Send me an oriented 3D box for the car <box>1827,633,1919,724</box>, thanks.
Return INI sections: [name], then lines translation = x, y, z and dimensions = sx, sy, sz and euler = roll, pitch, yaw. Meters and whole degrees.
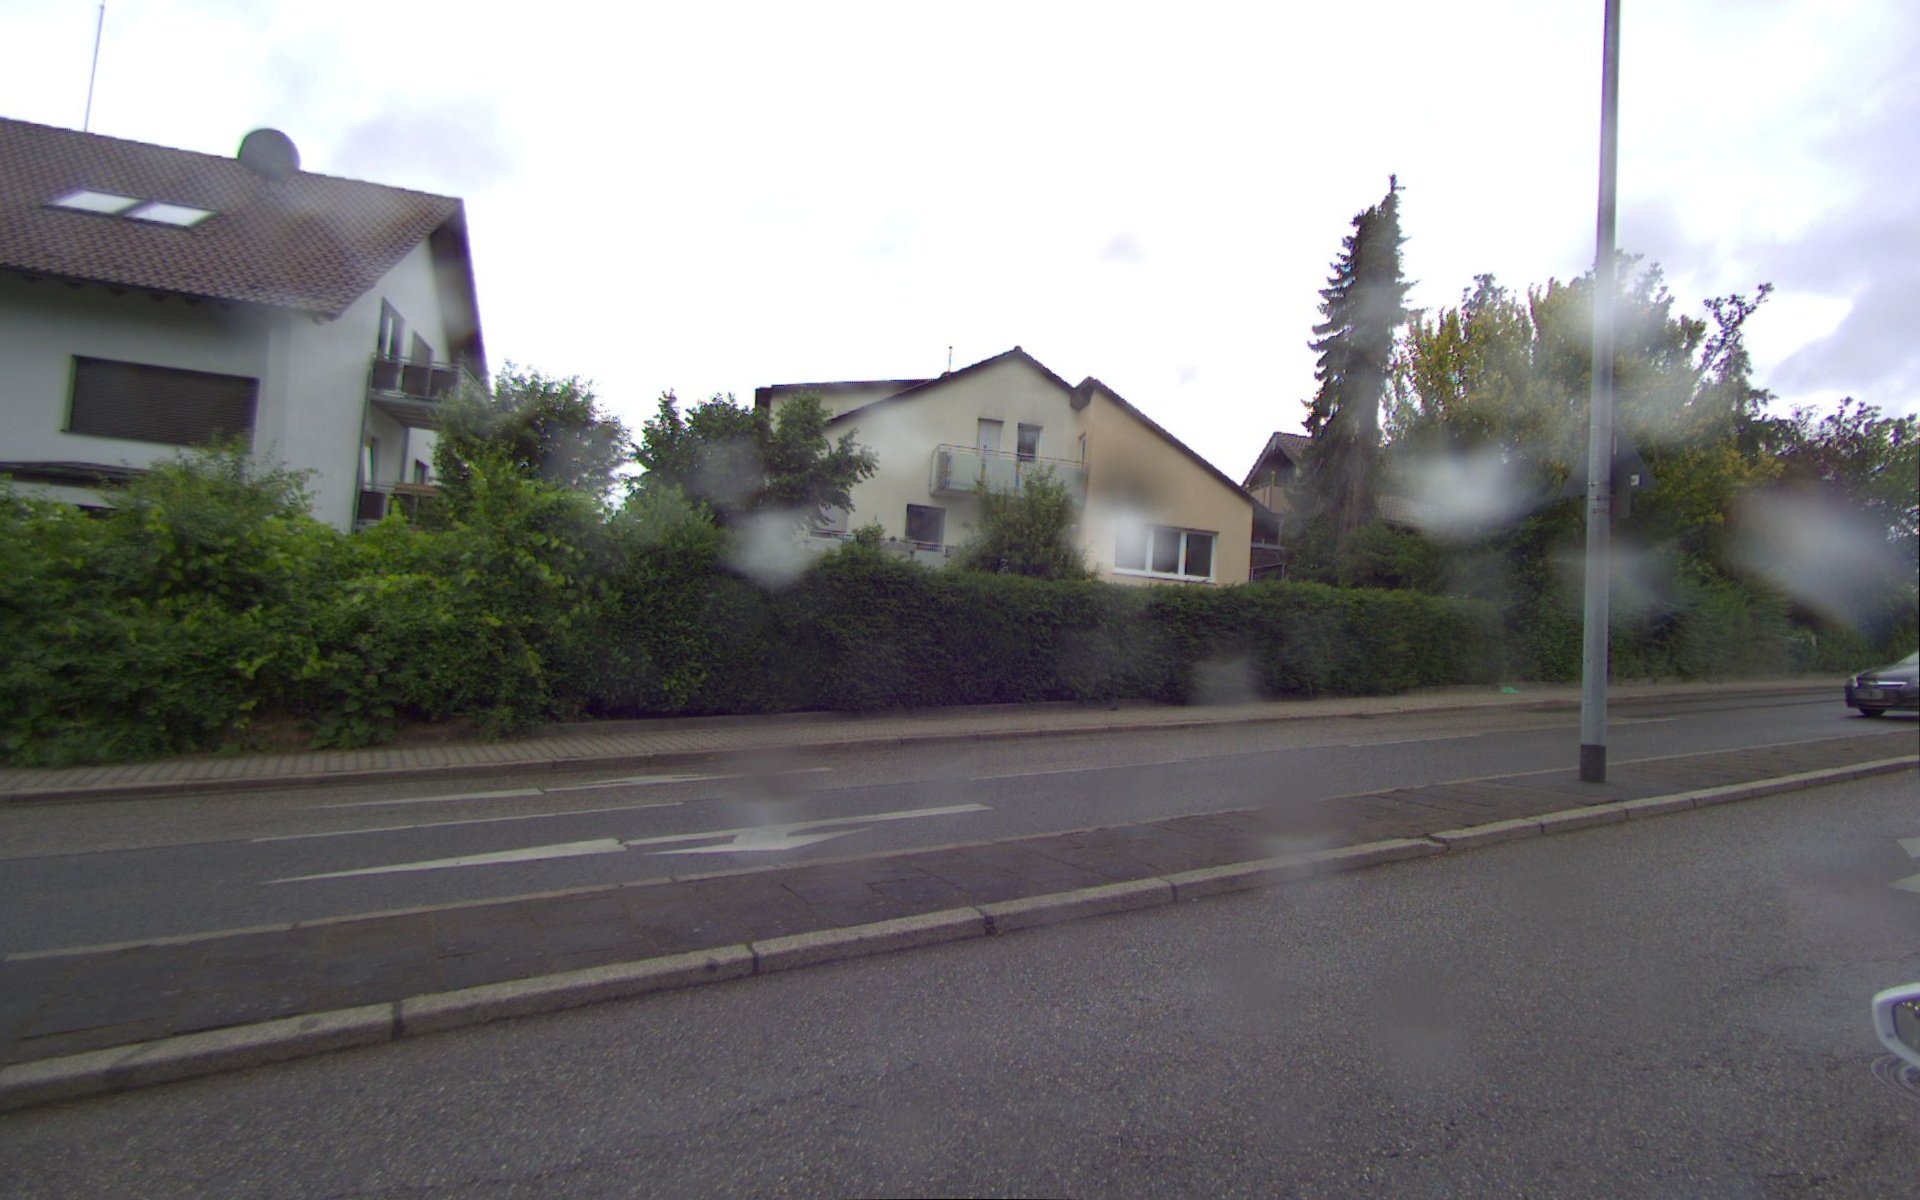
[car]
translation = 18.166, 1.375, 17.929
dimensions = 3.925, 1.529, 1.900
euler = 0, -3, -6
